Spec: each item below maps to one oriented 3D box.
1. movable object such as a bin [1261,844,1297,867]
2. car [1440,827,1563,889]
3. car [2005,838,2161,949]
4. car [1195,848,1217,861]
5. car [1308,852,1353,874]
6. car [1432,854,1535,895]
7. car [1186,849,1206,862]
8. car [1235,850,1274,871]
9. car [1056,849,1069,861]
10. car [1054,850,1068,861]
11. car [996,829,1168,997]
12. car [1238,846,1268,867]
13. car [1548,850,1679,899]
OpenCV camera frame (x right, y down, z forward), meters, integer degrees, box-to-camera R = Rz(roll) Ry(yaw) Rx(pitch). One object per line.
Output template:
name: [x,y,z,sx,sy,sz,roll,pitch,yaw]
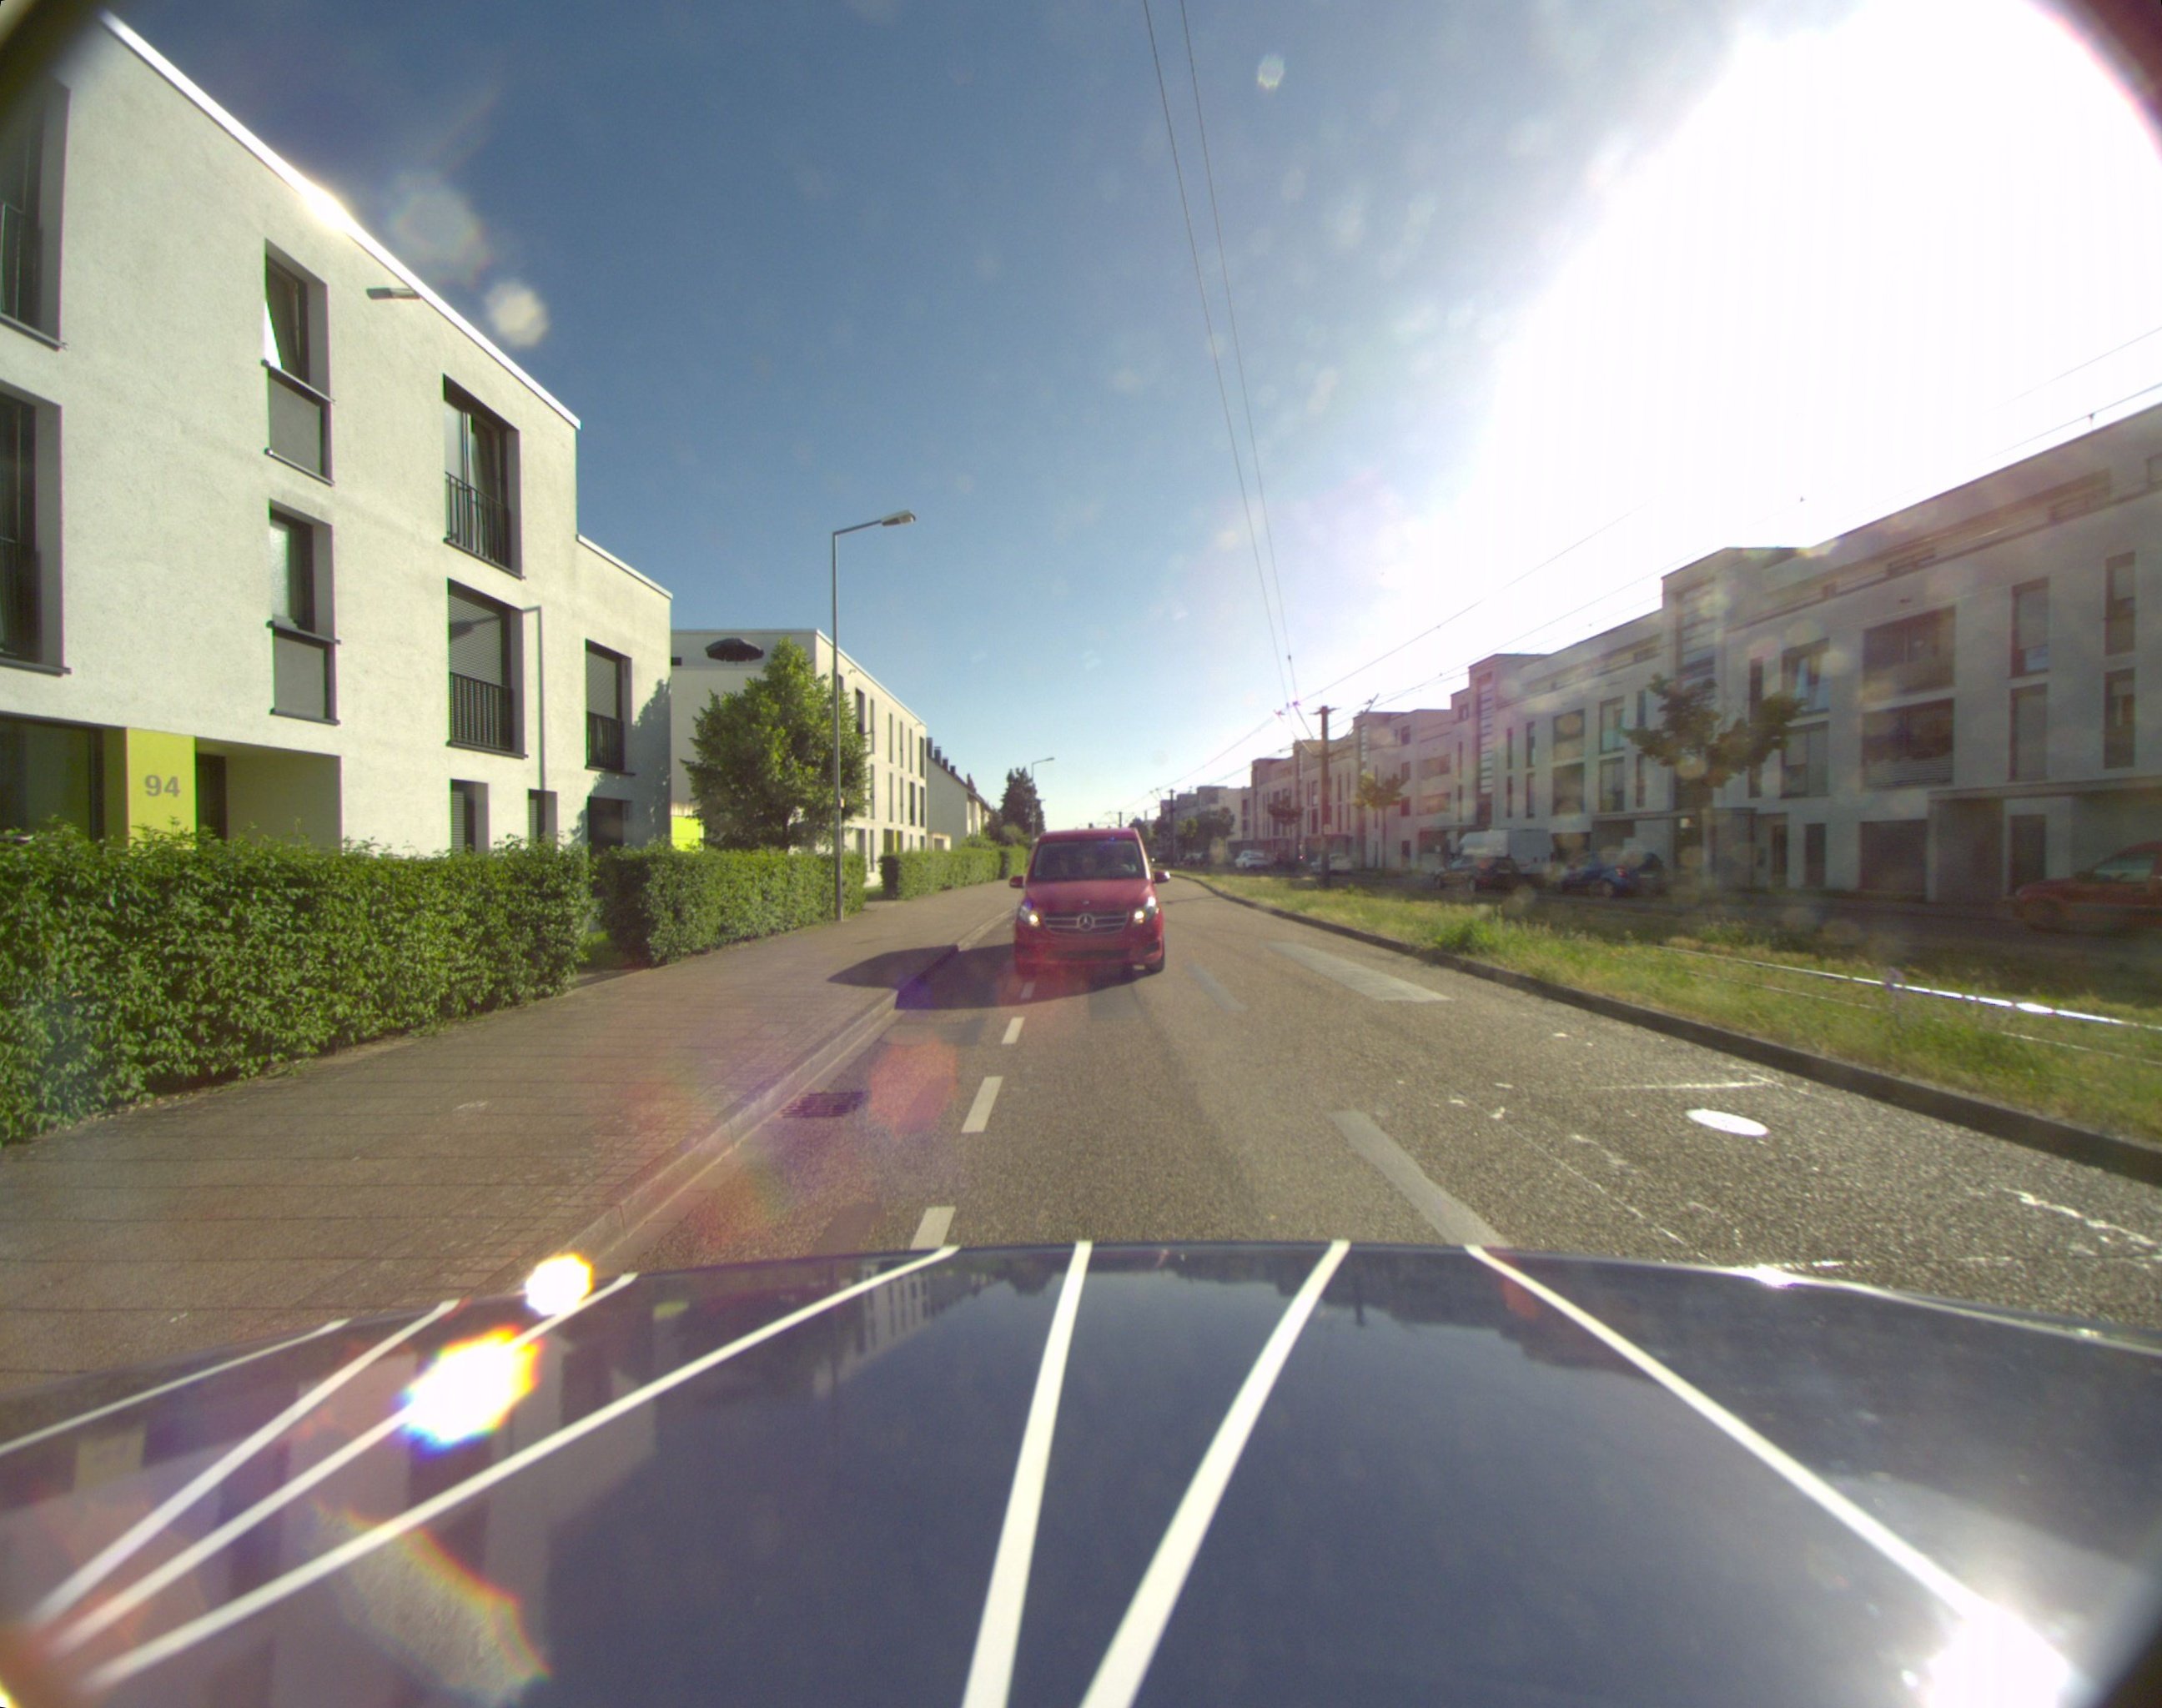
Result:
movable object such as a bin: [17.099,0.115,65.766,1.766,1.926,4.155,-2,0,-4]
car: [18.188,0.160,33.285,2.146,2.430,5.588,-2,0,-1]
car: [18.615,0.632,12.621,1.885,1.785,3.837,-2,0,1]
car: [15.405,0.036,93.806,1.766,1.590,4.155,-2,0,-4]
car: [17.573,0.594,53.680,1.521,1.424,4.155,-2,0,-4]
car: [15.002,0.715,28.562,1.792,1.410,4.000,1,0,1]
car: [15.021,0.204,99.443,1.766,1.590,4.155,-2,0,-4]
car: [14.226,0.516,62.544,1.999,1.586,4.645,2,0,-2]
car: [-2.566,0.179,104.381,1.700,1.604,4.013,2,0,0]
car: [-2.573,0.188,98.260,1.700,1.466,4.013,2,0,0]
car: [0.071,0.695,11.640,1.979,1.922,5.205,-2,0,1]
car: [16.736,0.240,74.121,1.766,1.859,4.155,-2,0,-4]
car: [18.266,0.650,26.298,1.829,1.528,3.842,-2,0,0]
